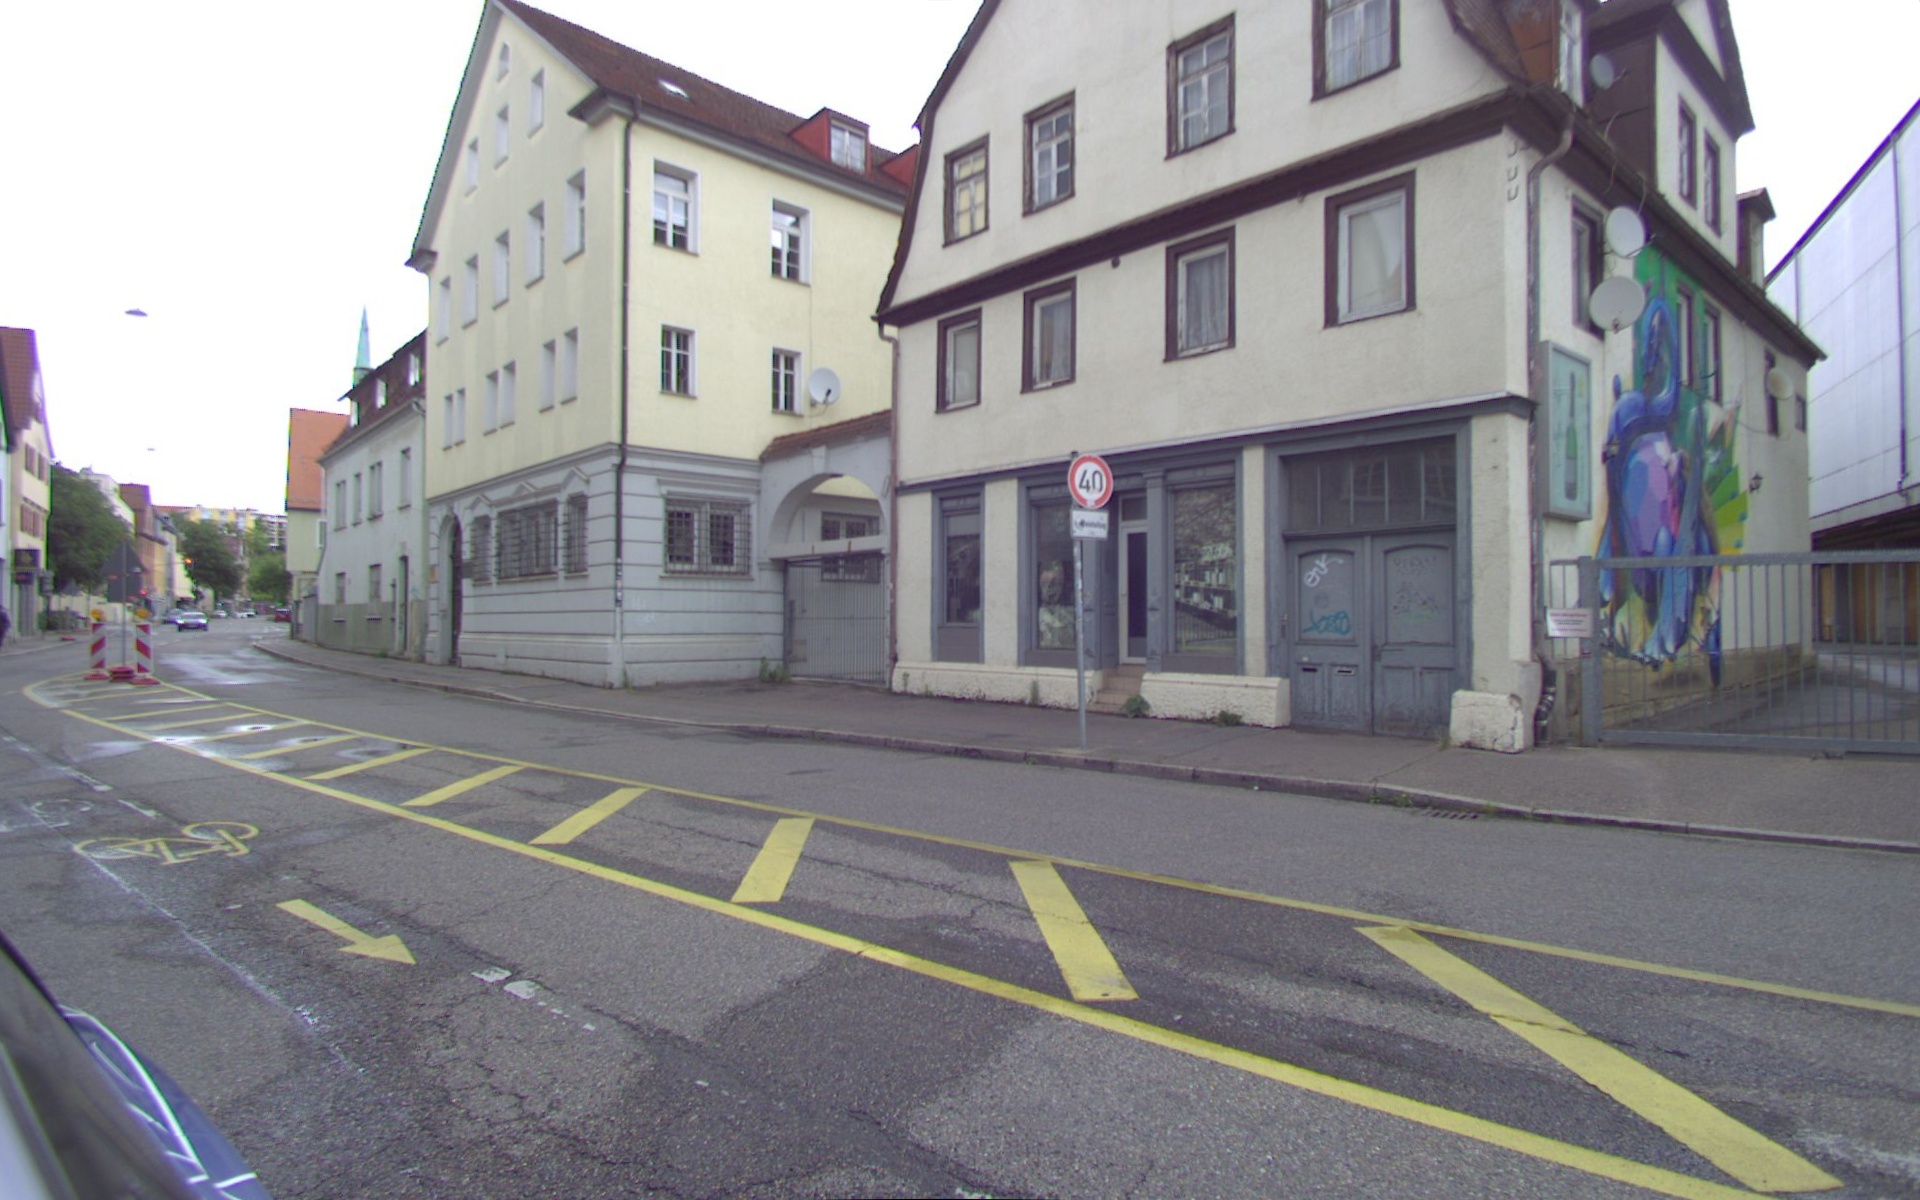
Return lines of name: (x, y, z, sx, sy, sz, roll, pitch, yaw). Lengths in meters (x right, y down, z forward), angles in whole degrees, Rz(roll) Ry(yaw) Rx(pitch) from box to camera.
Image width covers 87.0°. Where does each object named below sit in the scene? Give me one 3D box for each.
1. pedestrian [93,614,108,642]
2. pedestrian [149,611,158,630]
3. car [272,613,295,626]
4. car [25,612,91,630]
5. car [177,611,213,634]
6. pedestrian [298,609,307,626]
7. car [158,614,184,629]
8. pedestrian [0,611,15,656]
pedestrian: (-71.885, 2.368, 84.653, 0.888, 2.328, 0.822, 1, -2, -36)
pedestrian: (-86.839, 2.209, 108.953, 0.650, 2.131, 0.647, 1, -2, -33)
car: (-85.874, 2.475, 128.431, 2.178, 1.690, 4.509, 2, -2, -36)
car: (-77.424, 1.758, 86.900, 3.932, 1.475, 2.006, 0, 0, -33)
car: (-59.039, 1.739, 78.154, 1.967, 1.691, 4.010, 0, 0, -34)
pedestrian: (-79.592, 2.166, 122.505, 0.823, 2.029, 0.847, 1, -2, -36)
car: (-84.966, 2.310, 109.001, 2.001, 1.567, 4.010, 2, -2, -35)
pedestrian: (-35.676, 1.231, 37.489, 0.820, 1.668, 0.946, 1, -2, -34)
